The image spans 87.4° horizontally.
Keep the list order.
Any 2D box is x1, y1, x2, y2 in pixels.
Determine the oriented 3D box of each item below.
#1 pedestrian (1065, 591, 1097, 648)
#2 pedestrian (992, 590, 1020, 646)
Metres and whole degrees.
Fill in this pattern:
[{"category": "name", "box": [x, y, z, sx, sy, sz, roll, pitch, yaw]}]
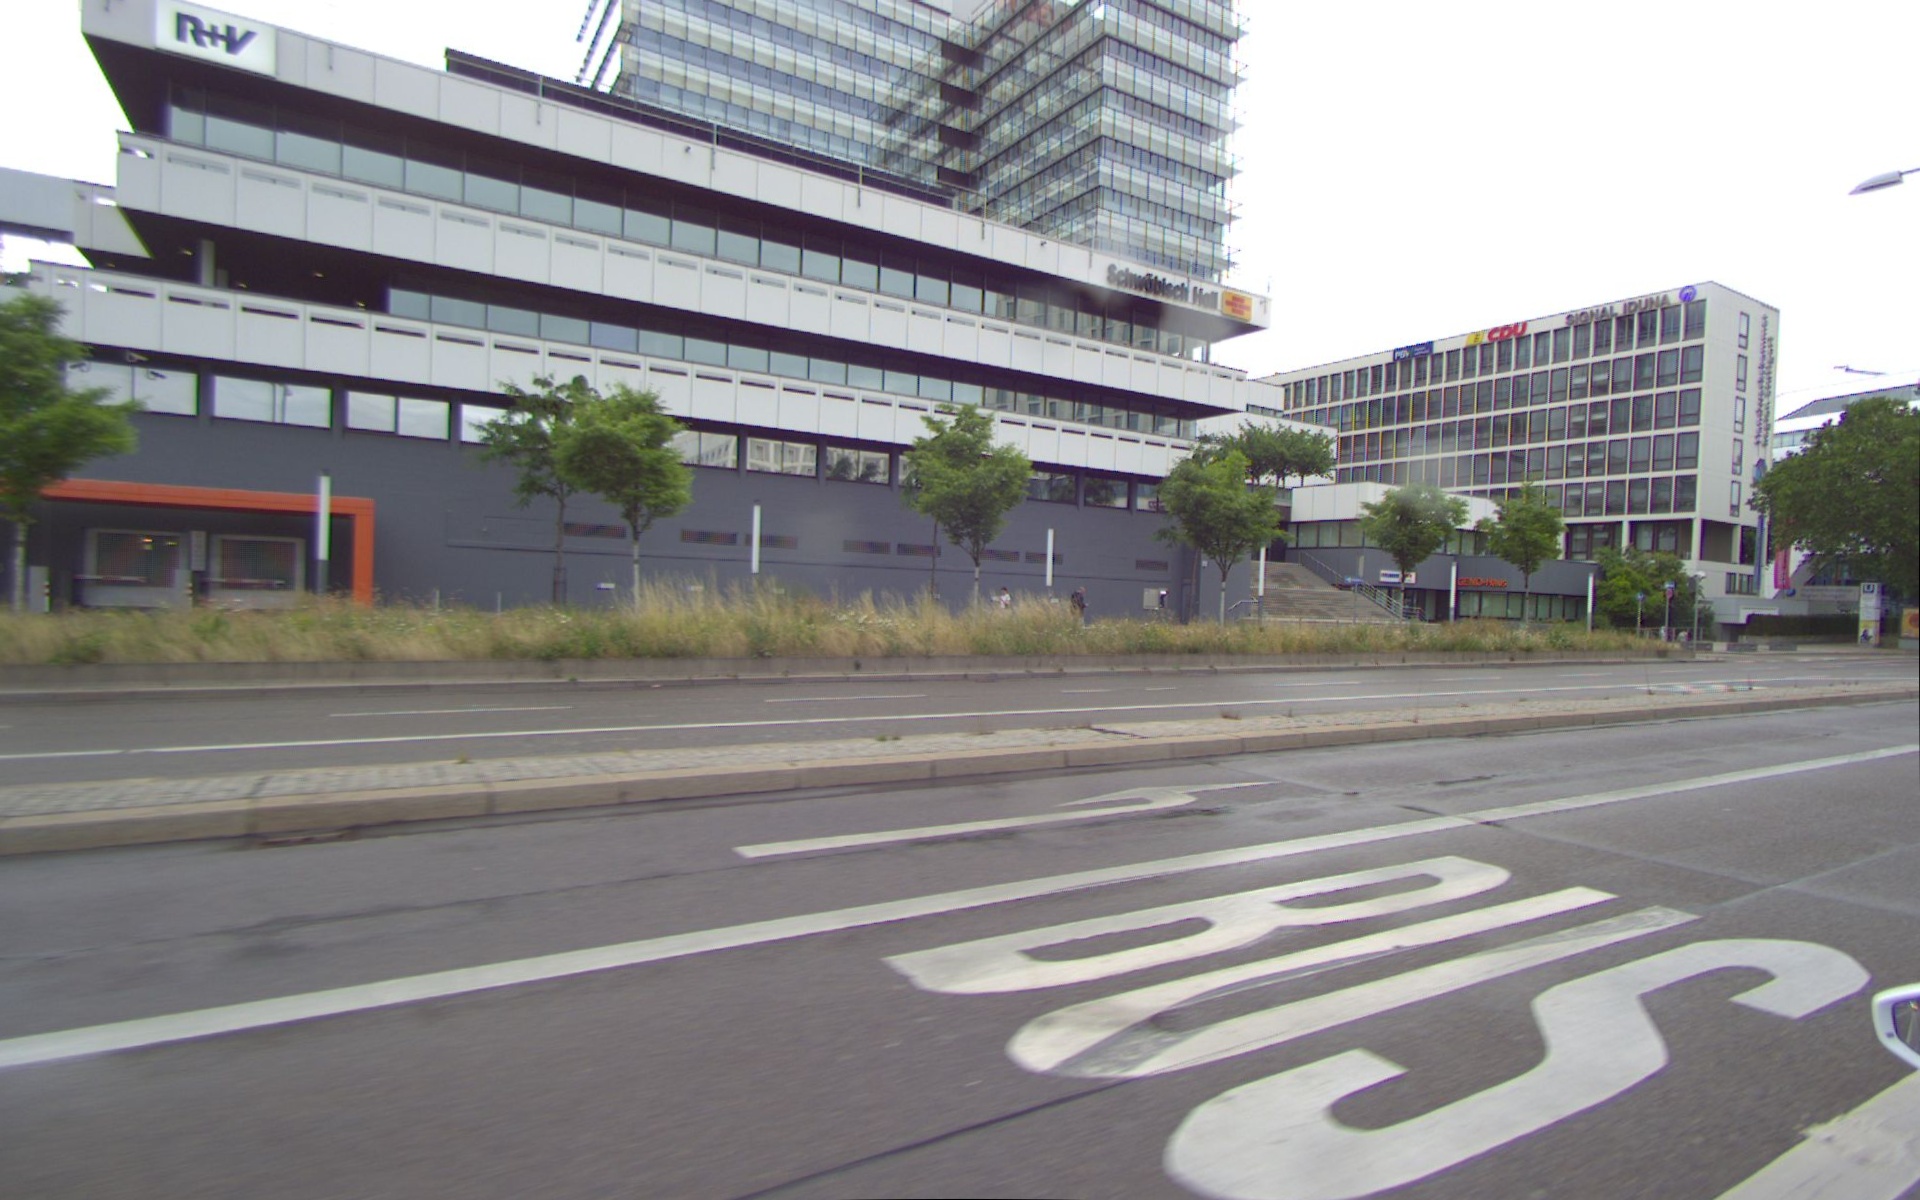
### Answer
[{"category": "pedestrian", "box": [3.967, 0.647, 32.958, 0.621, 1.831, 0.780, 2, -1, -30]}, {"category": "pedestrian", "box": [1.527, 0.583, 33.300, 0.621, 1.831, 0.626, 2, -1, -30]}]
